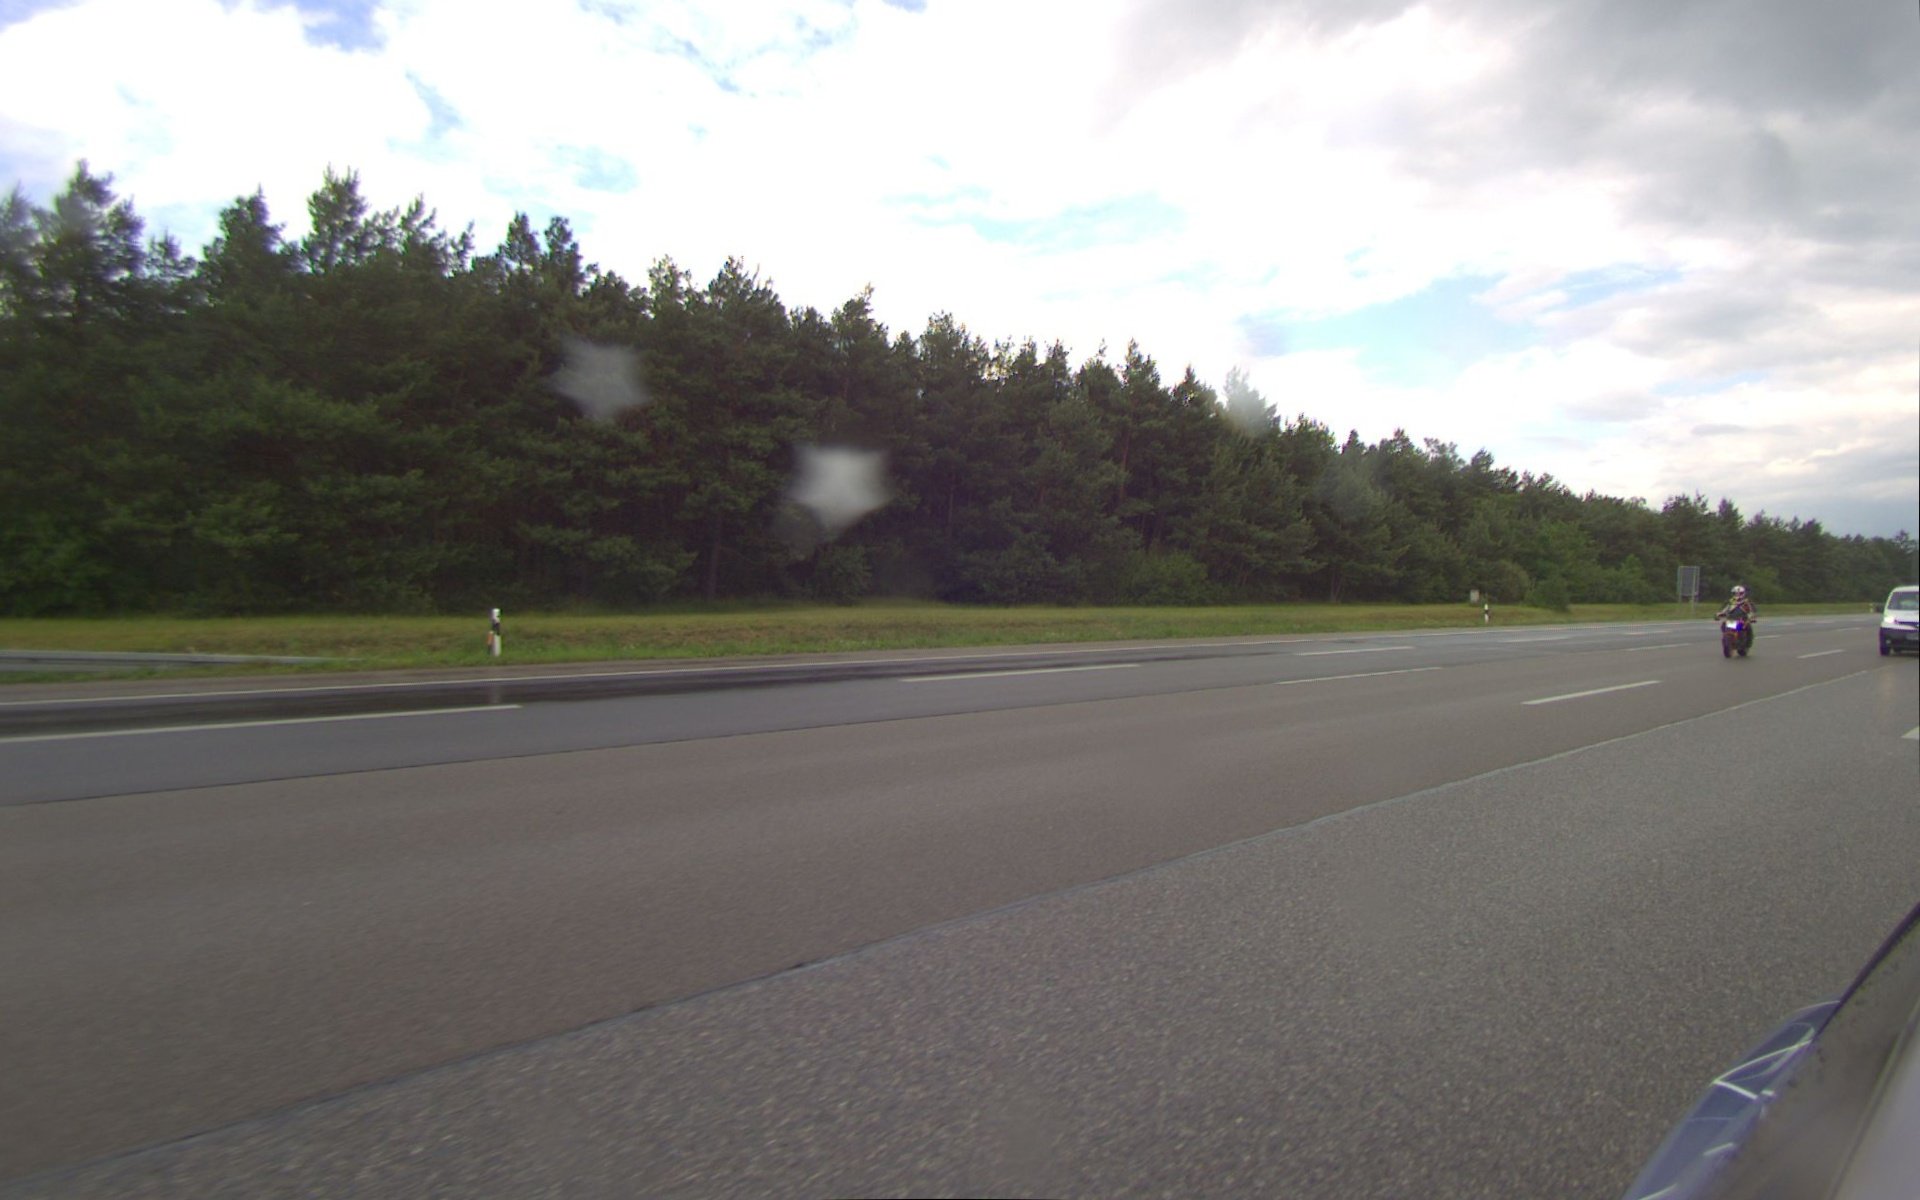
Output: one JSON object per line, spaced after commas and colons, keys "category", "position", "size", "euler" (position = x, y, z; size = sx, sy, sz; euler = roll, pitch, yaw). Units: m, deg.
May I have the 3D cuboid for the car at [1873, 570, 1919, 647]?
{"category": "car", "position": [26.146, 0.223, 26.895], "size": [4.792, 1.925, 1.969], "euler": [0, 1, -38]}

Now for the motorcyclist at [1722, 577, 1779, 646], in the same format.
{"category": "motorcyclist", "position": [19.420, 0.264, 24.865], "size": [0.941, 1.635, 0.893], "euler": [0, 1, -38]}

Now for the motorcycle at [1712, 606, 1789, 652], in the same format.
{"category": "motorcycle", "position": [19.418, 0.683, 24.850], "size": [2.134, 1.044, 1.002], "euler": [0, 1, -38]}
